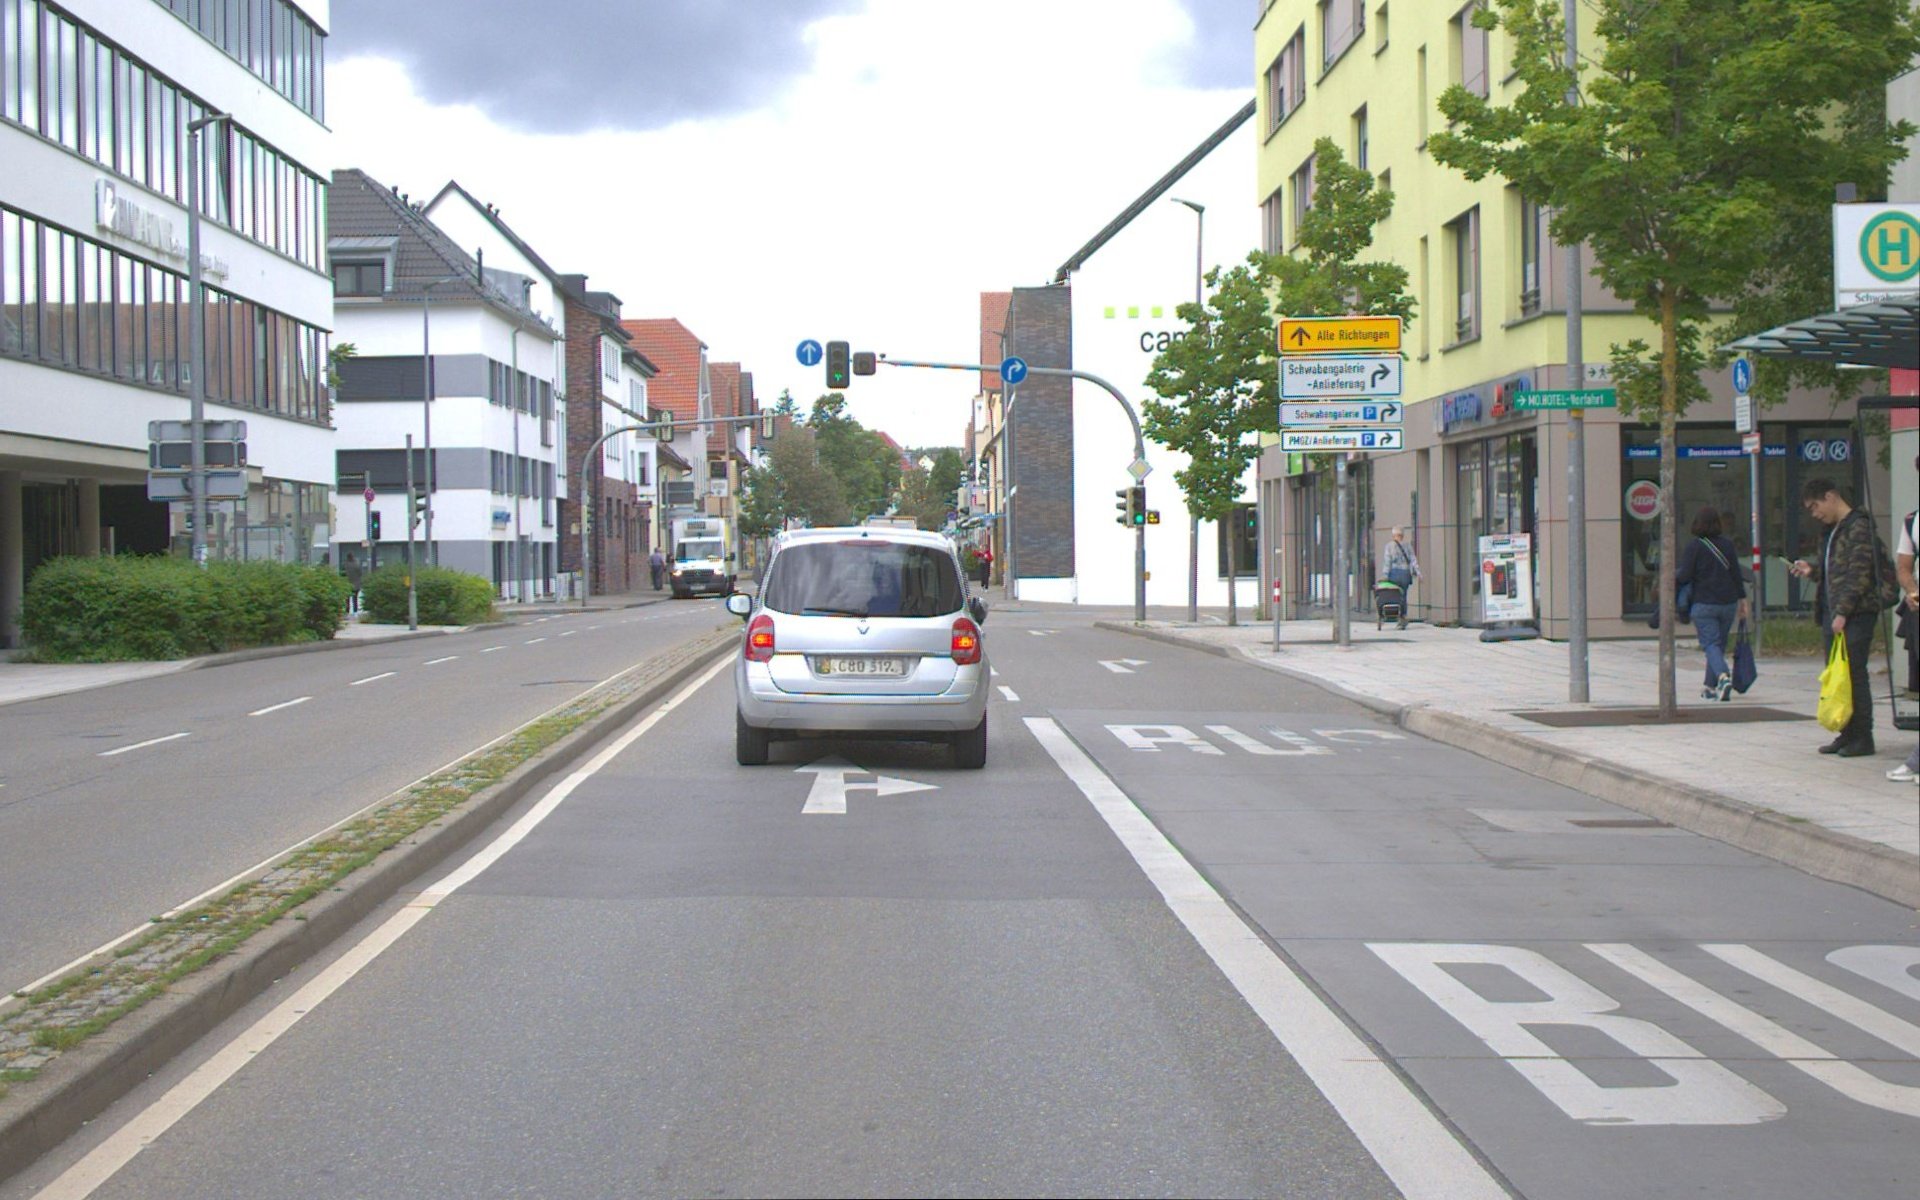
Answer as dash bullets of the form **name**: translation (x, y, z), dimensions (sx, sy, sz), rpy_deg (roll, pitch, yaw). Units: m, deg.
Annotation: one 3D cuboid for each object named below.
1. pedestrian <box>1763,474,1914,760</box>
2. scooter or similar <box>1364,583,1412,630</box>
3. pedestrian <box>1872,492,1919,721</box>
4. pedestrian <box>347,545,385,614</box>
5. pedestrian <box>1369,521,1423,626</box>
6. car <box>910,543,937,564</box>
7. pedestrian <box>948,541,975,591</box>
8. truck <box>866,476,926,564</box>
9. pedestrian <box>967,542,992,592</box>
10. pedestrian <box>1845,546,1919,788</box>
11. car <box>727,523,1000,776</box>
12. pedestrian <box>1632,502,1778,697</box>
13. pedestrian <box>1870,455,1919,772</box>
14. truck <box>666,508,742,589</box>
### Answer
- **pedestrian**: translation (5.290, 0.094, 20.736), dimensions (0.721, 1.678, 0.732), rpy_deg (-2, 1, 4)
- **scooter or similar**: translation (6.504, 0.094, 52.289), dimensions (0.592, 0.670, 0.824), rpy_deg (-2, 1, -2)
- **pedestrian**: translation (6.952, 0.036, 24.109), dimensions (0.868, 1.578, 0.804), rpy_deg (-1, 1, -2)
- **pedestrian**: translation (-14.910, -0.514, 86.249), dimensions (0.881, 1.664, 0.814), rpy_deg (-1, 3, -12)
- **pedestrian**: translation (6.725, -0.419, 53.002), dimensions (0.695, 1.588, 0.603), rpy_deg (-2, 1, -2)
- **car**: translation (-2.433, -3.141, 230.387), dimensions (1.812, 1.349, 4.000), rpy_deg (-1, 1, 0)
- **pedestrian**: translation (0.051, -1.248, 126.433), dimensions (0.889, 1.781, 0.785), rpy_deg (-3, 1, 0)
- **truck**: translation (-2.829, -3.592, 154.021), dimensions (2.595, 3.844, 6.849), rpy_deg (0, 1, -1)
- **pedestrian**: translation (0.702, -1.202, 125.317), dimensions (0.807, 1.781, 0.861), rpy_deg (-3, 1, 0)
- **pedestrian**: translation (5.322, 0.336, 18.348), dimensions (0.942, 1.255, 0.733), rpy_deg (-2, 1, -4)
- **car**: translation (-0.659, 0.280, 23.884), dimensions (1.706, 1.573, 4.000), rpy_deg (1, 1, -1)
- **pedestrian**: translation (6.179, -0.010, 28.560), dimensions (0.947, 1.578, 1.016), rpy_deg (-1, 1, -2)
- **pedestrian**: translation (5.566, 0.061, 19.514), dimensions (0.579, 1.763, 0.856), rpy_deg (-2, 1, 4)
- **truck**: translation (-9.654, -1.953, 130.353), dimensions (2.435, 2.943, 8.365), rpy_deg (1, 1, -1)
